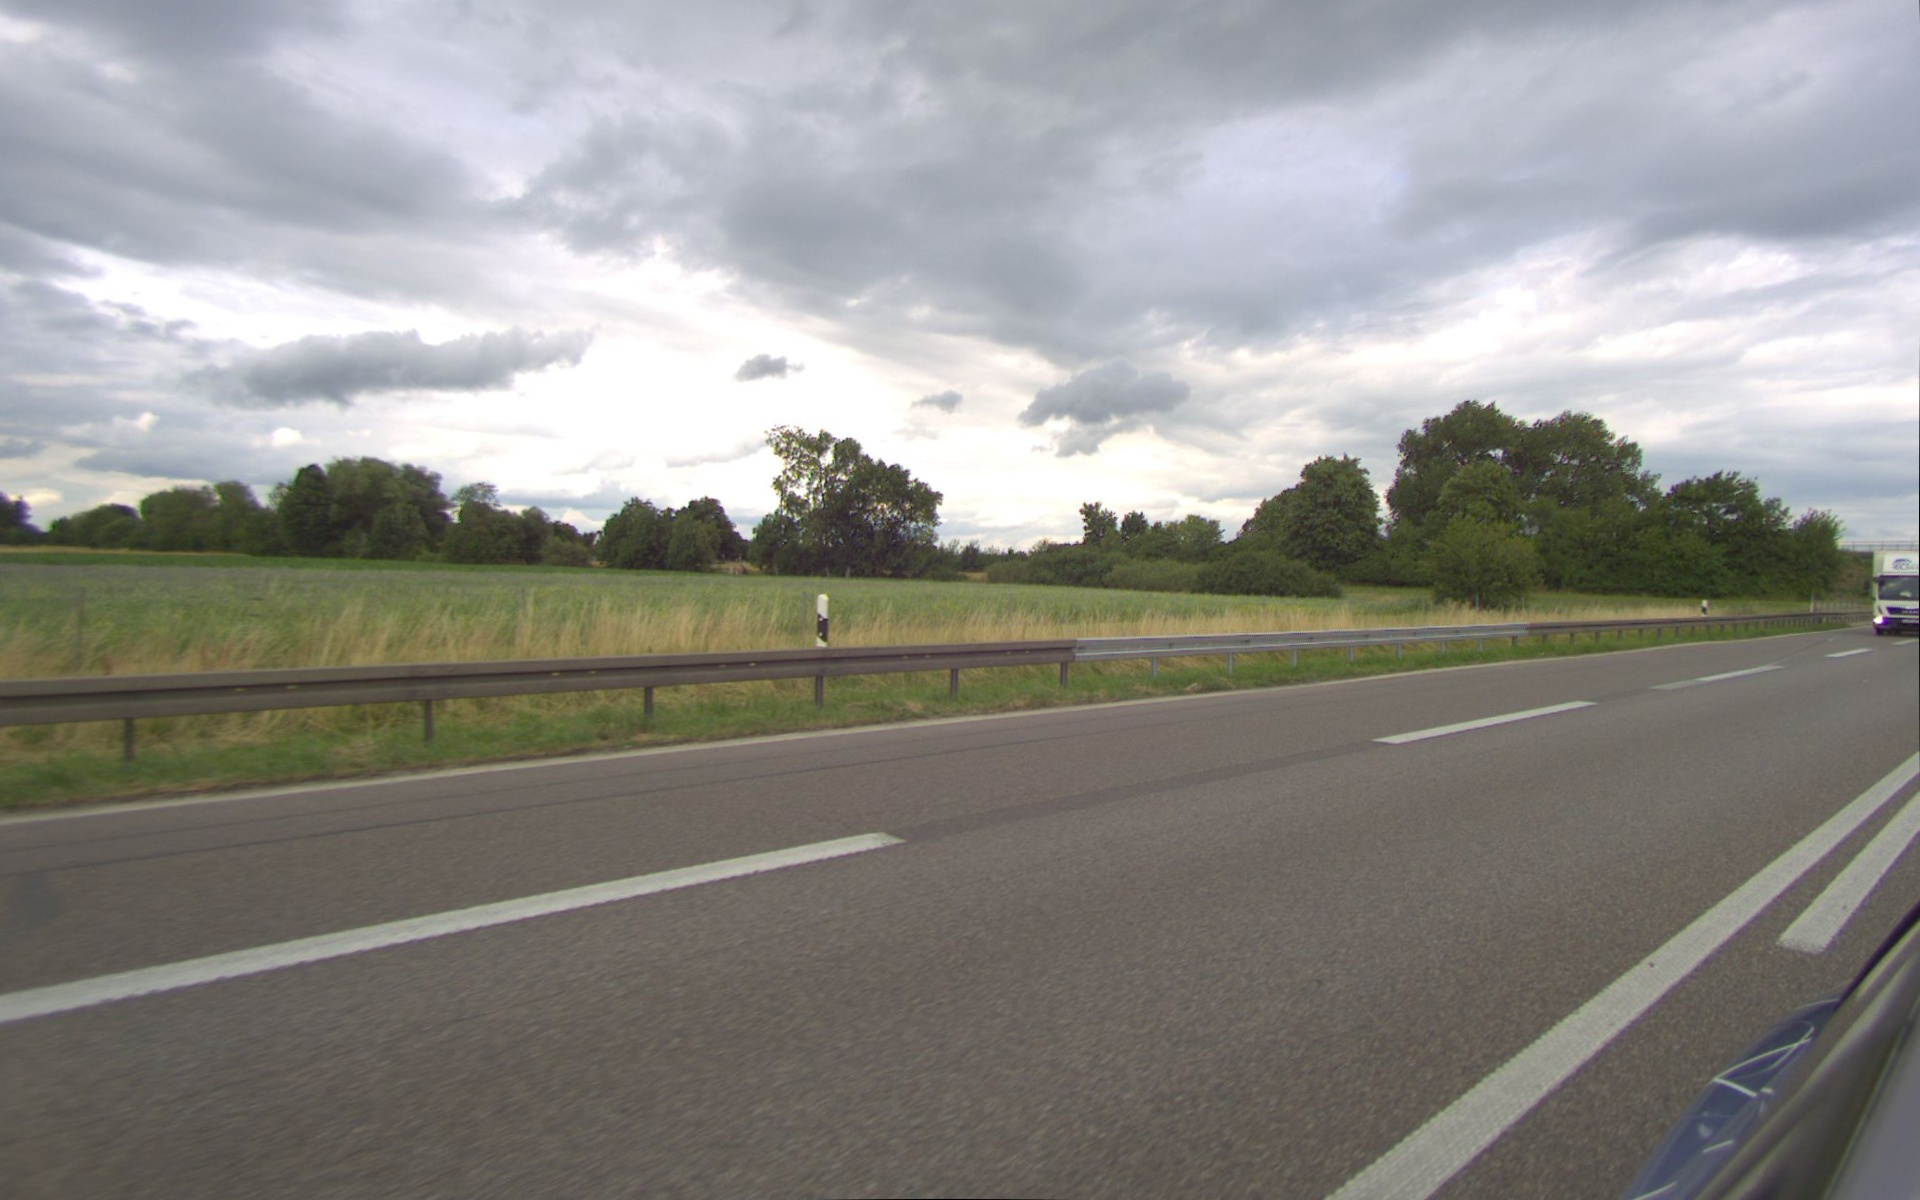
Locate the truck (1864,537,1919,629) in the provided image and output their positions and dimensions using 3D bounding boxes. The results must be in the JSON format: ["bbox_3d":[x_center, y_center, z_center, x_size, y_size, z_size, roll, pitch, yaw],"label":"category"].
[{"bbox_3d":[40.046,-0.657,41.684,8.735,3.515,3.110,0,0,-41],"label":"truck"}]
